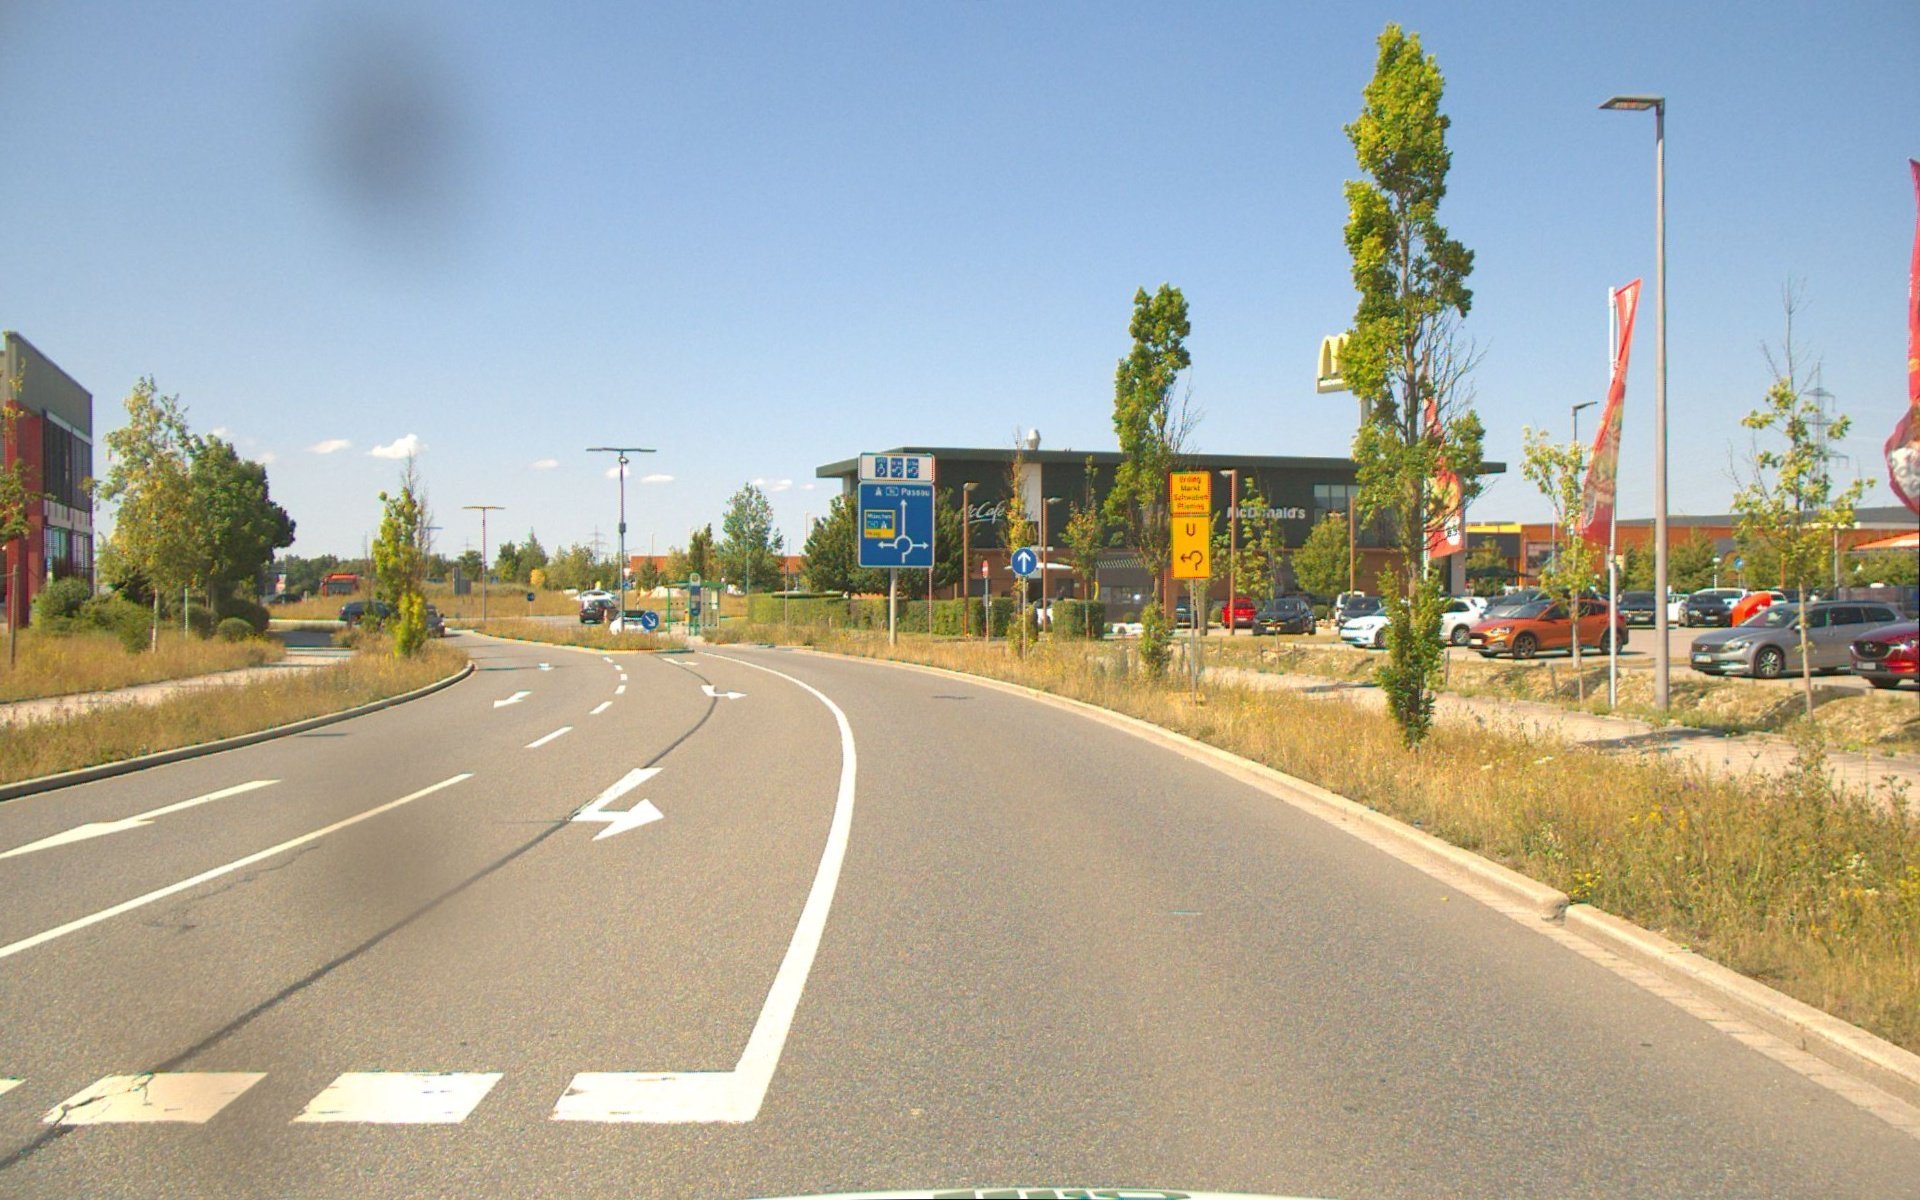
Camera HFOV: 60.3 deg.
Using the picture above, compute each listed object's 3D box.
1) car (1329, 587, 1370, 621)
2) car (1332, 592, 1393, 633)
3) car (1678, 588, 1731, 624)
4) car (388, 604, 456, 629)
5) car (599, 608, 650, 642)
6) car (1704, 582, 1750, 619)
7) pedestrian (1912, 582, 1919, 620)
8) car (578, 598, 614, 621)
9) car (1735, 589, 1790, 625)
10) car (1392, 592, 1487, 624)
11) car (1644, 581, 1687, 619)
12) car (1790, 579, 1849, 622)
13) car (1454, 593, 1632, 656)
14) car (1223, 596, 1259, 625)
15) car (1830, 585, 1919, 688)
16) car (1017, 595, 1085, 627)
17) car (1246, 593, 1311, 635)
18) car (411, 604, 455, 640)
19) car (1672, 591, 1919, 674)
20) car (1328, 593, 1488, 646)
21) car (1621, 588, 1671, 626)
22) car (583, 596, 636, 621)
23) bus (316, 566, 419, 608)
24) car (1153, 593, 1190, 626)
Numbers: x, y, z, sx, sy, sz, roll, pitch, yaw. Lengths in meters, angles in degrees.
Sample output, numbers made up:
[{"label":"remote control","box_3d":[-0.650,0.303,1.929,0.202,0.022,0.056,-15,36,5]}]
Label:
[{"label":"car","box_3d":[21.048,0.202,89.268,1.755,1.731,4.001,-1,0,19]},{"label":"car","box_3d":[15.324,0.448,62.807,1.749,1.487,4.169,-1,0,21]},{"label":"car","box_3d":[31.270,0.230,69.543,1.749,1.476,4.169,-1,0,21]},{"label":"car","box_3d":[-33.845,1.013,104.079,3.708,1.544,1.773,0,0,2]},{"label":"car","box_3d":[-15.344,1.117,75.518,1.594,1.459,3.766,0,0,-22]},{"label":"car","box_3d":[38.146,0.003,82.337,1.749,1.788,4.169,-1,0,21]},{"label":"pedestrian","box_3d":[31.815,0.038,54.825,0.374,1.262,0.290,-1,0,-23]},{"label":"car","box_3d":[-23.405,0.591,106.382,1.584,1.459,3.791,0,0,-1]},{"label":"car","box_3d":[34.309,0.270,70.775,1.749,1.476,4.169,-1,0,21]},{"label":"car","box_3d":[21.723,0.359,74.855,3.907,1.397,1.797,-1,0,25]},{"label":"car","box_3d":[34.542,0.004,81.042,1.749,1.788,4.169,-1,0,21]},{"label":"car","box_3d":[37.034,-0.002,71.369,1.749,1.788,4.169,-1,0,21]},{"label":"car","box_3d":[15.368,0.620,43.664,4.135,1.516,1.861,-1,1,-15]},{"label":"car","box_3d":[14.631,0.524,86.256,1.754,1.459,4.003,-1,0,9]},{"label":"car","box_3d":[17.854,0.580,29.221,4.075,1.694,1.866,-1,1,-8]},{"label":"car","box_3d":[4.295,0.525,78.627,1.768,1.459,3.973,-1,0,-22]},{"label":"car","box_3d":[11.860,0.509,61.342,1.662,1.487,4.169,-1,0,21]},{"label":"car","box_3d":[-28.812,1.160,90.341,1.924,1.826,4.396,-2,1,-22]},{"label":"car","box_3d":[17.153,0.638,33.848,4.474,1.516,1.864,-1,1,-11]},{"label":"car","box_3d":[13.795,0.581,50.996,4.451,1.516,1.861,-1,1,-15]},{"label":"car","box_3d":[28.060,0.274,67.754,1.749,1.476,4.169,-1,0,21]},{"label":"car","box_3d":[-28.574,0.680,134.913,3.904,2.049,1.835,0,0,2]},{"label":"bus","box_3d":[-50.777,-1.189,142.316,2.727,3.132,12.216,-1,2,9]},{"label":"car","box_3d":[10.919,0.459,85.316,1.754,1.632,4.003,-1,0,9]}]
